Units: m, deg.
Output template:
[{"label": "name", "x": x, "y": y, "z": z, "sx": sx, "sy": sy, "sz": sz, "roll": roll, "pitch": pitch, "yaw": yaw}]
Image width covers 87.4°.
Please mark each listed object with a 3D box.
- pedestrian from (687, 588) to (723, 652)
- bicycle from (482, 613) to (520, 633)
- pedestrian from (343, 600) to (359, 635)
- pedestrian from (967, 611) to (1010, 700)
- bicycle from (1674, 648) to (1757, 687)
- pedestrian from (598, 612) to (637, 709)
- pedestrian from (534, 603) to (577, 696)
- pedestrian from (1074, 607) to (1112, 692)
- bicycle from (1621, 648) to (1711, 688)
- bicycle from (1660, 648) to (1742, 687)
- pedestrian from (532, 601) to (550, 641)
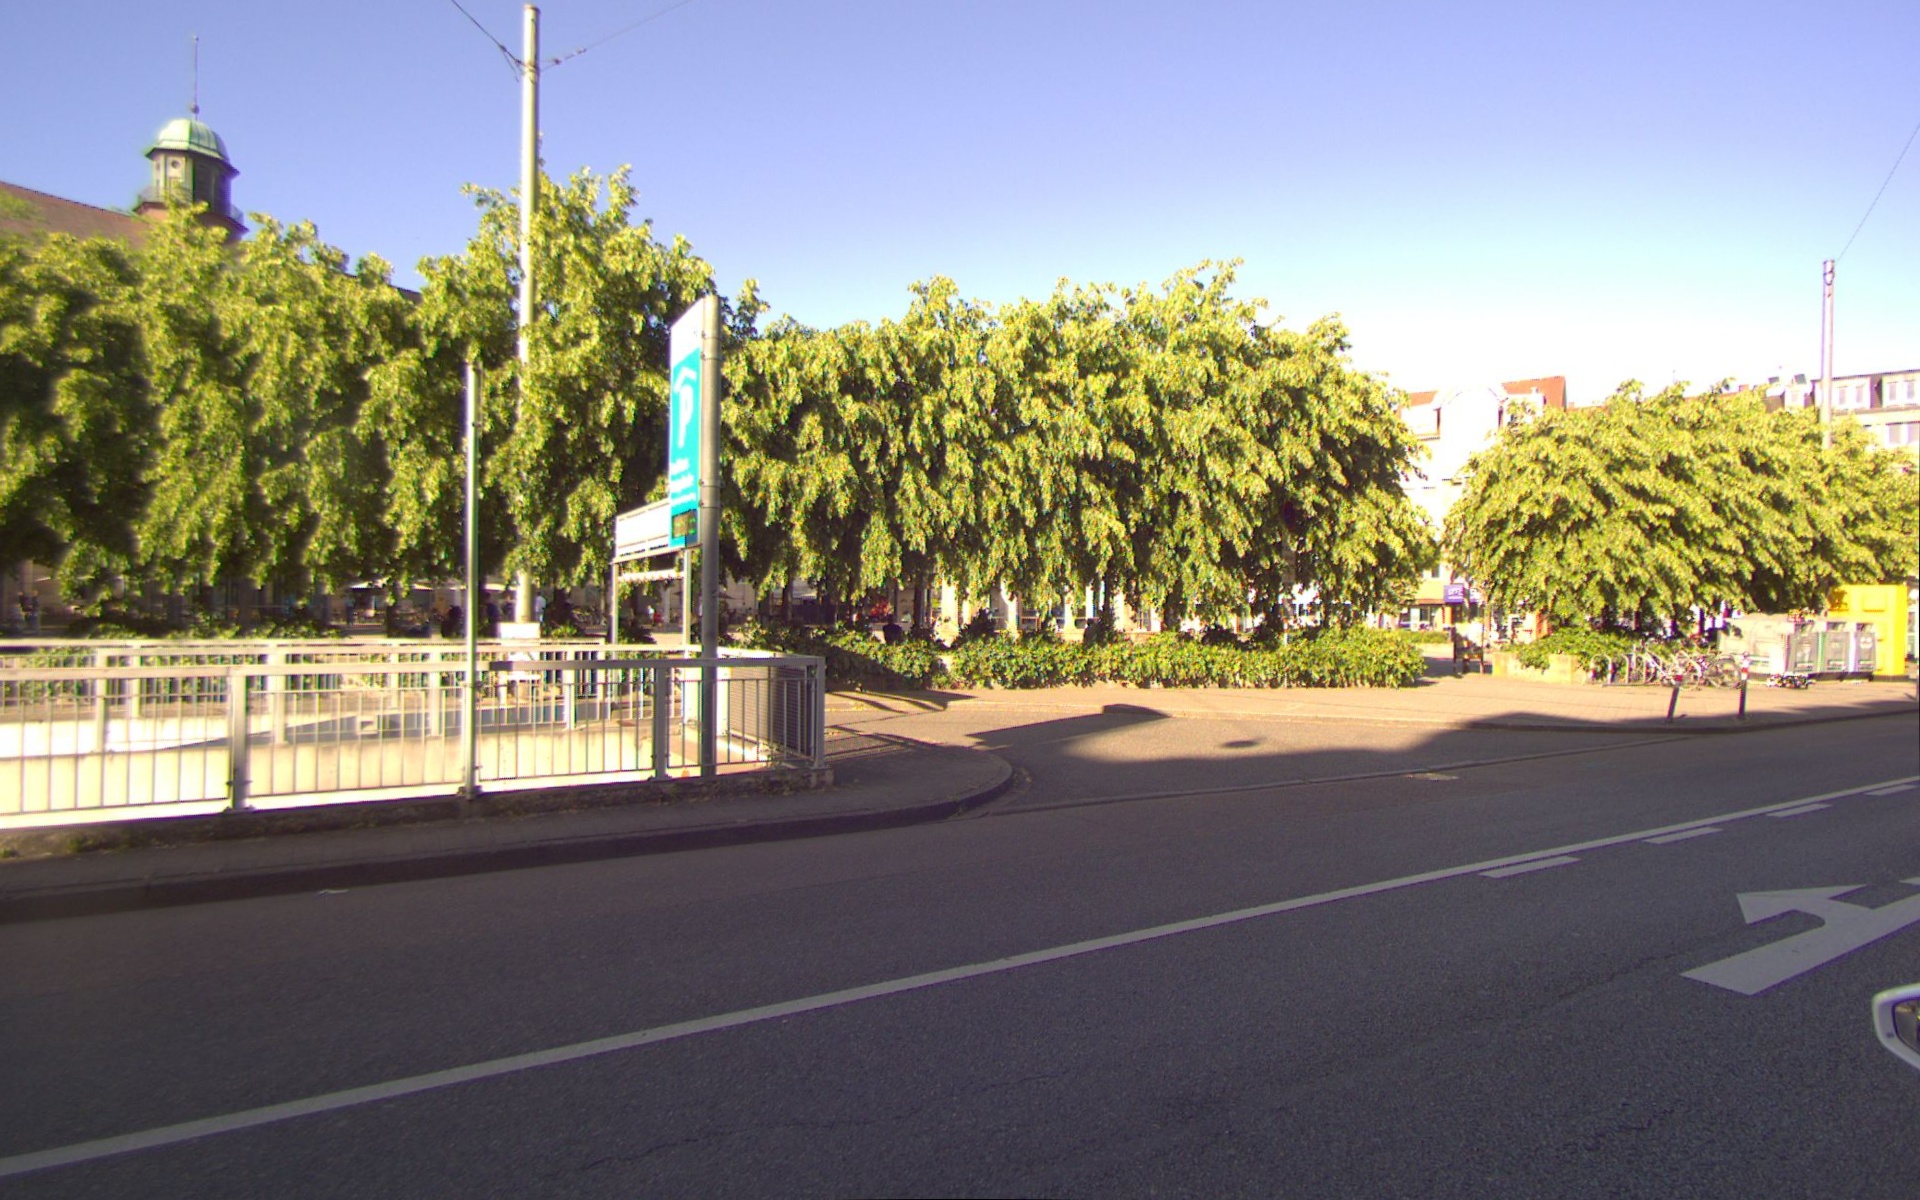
[{"label": "pedestrian", "x": -7.126, "y": 0.557, "z": 28.102, "sx": 0.918, "sy": 1.775, "sz": 0.729, "roll": 1, "pitch": 0, "yaw": -14}, {"label": "bicycle", "x": -24.581, "y": 1.235, "z": 53.795, "sx": 2.018, "sy": 1.030, "sz": 0.504, "roll": 1, "pitch": 0, "yaw": 16}, {"label": "pedestrian", "x": -31.250, "y": 0.891, "z": 51.534, "sx": 0.596, "sy": 1.816, "sz": 0.576, "roll": 1, "pitch": 0, "yaw": -40}, {"label": "pedestrian", "x": 0.616, "y": 1.200, "z": 21.966, "sx": 0.722, "sy": 1.881, "sz": 0.578, "roll": 1, "pitch": 0, "yaw": -27}, {"label": "bicycle", "x": 17.301, "y": 1.538, "z": 23.031, "sx": 0.468, "sy": 0.779, "sz": 1.468, "roll": 1, "pitch": 0, "yaw": -26}, {"label": "pedestrian", "x": -6.869, "y": 1.199, "z": 20.120, "sx": 0.595, "sy": 1.881, "sz": 0.577, "roll": 1, "pitch": 0, "yaw": -33}, {"label": "pedestrian", "x": -8.404, "y": 1.006, "z": 20.868, "sx": 0.672, "sy": 1.881, "sz": 0.576, "roll": 1, "pitch": 0, "yaw": -41}, {"label": "pedestrian", "x": 3.012, "y": 1.110, "z": 22.713, "sx": 0.574, "sy": 1.881, "sz": 0.598, "roll": 1, "pitch": 0, "yaw": 41}, {"label": "bicycle", "x": 15.561, "y": 1.489, "z": 22.182, "sx": 0.467, "sy": 0.779, "sz": 1.654, "roll": 1, "pitch": 0, "yaw": -20}, {"label": "bicycle", "x": 16.783, "y": 1.518, "z": 22.791, "sx": 0.435, "sy": 0.779, "sz": 1.469, "roll": 1, "pitch": 0, "yaw": -24}, {"label": "pedestrian", "x": -19.408, "y": 0.968, "z": 46.507, "sx": 0.597, "sy": 1.816, "sz": 0.575, "roll": 1, "pitch": 0, "yaw": -44}]
